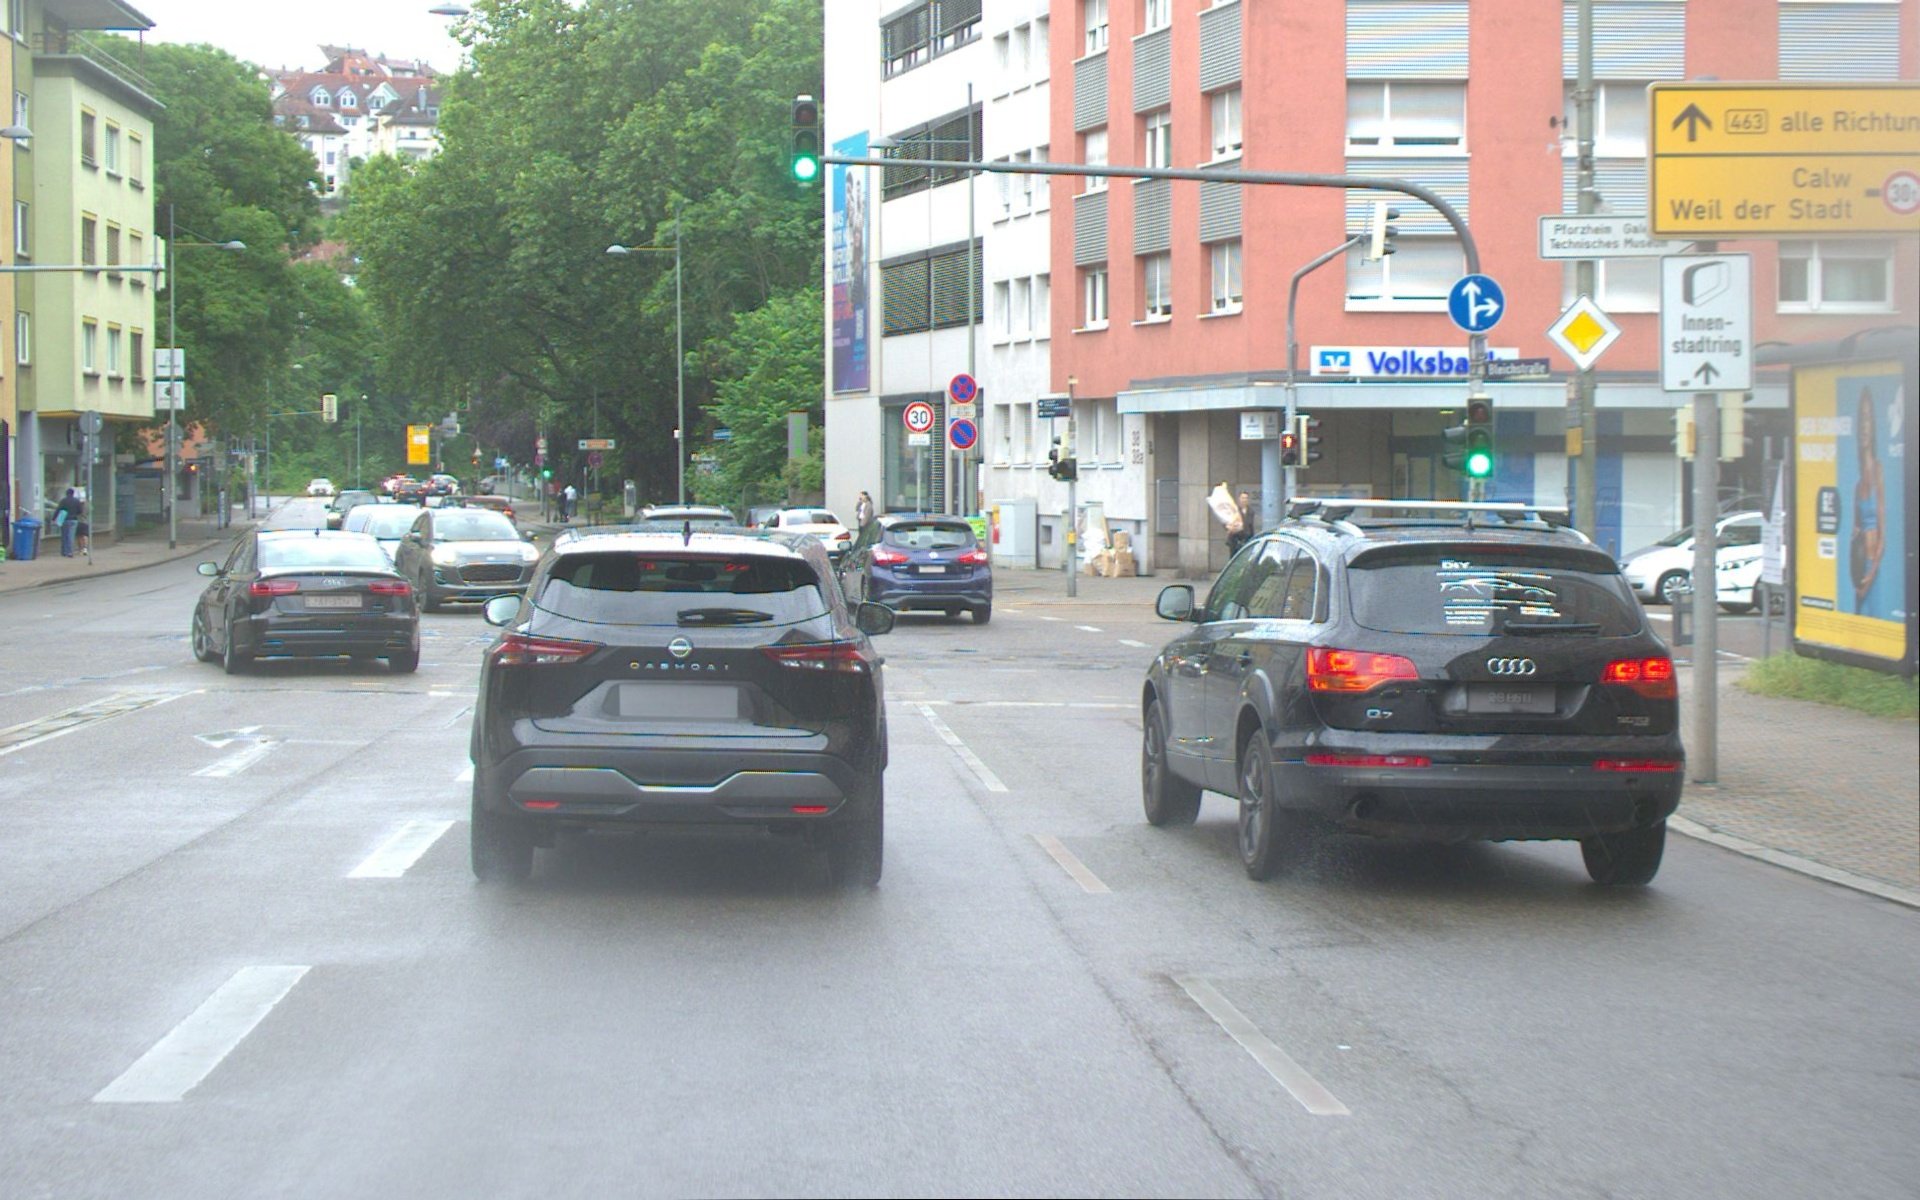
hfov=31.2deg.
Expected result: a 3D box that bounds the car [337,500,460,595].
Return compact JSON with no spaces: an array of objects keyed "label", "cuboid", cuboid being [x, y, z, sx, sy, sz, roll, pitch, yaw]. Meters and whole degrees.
[{"label":"car","cuboid":[-9.429,-0.884,57.561,1.933,1.521,4.136,-1,1,-10]}]

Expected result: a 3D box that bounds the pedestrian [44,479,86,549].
[{"label":"pedestrian","cuboid":[-23.507,-2.259,90.281,0.865,1.782,0.875,2,1,-5]}]

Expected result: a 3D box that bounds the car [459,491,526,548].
[{"label":"car","cuboid":[-14.413,-2.498,105.919,1.820,1.606,3.867,2,2,-10]}]

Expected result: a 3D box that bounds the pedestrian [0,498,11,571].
[{"label":"pedestrian","cuboid":[-21.304,-1.451,75.533,0.686,1.576,0.652,2,2,-3]}]

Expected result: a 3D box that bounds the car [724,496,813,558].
[{"label":"car","cuboid":[-4.843,-1.857,86.627,1.714,1.437,4.083,-2,2,-10]}]

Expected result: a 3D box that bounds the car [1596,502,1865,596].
[{"label":"car","cuboid":[12.534,-0.845,56.053,3.945,1.481,1.703,-1,2,-5]}]

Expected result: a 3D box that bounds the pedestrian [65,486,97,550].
[{"label":"pedestrian","cuboid":[-23.601,-2.204,92.299,0.798,1.682,0.817,0,2,-11]}]

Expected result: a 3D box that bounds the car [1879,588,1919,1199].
[{"label":"car","cuboid":[3.294,0.742,6.507,1.783,1.491,4.057,1,0,-4]}]

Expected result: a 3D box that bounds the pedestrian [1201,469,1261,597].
[{"label":"pedestrian","cuboid":[4.637,-1.157,58.847,0.825,2.151,0.770,2,2,-5]}]

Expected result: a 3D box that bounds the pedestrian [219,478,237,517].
[{"label":"pedestrian","cuboid":[-33.838,-4.732,158.927,0.666,1.785,0.722,1,2,-17]}]

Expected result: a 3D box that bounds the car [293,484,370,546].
[{"label":"car","cuboid":[-19.918,-2.706,109.033,1.993,1.853,4.001,2,2,-5]}]

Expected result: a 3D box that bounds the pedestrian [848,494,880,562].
[{"label":"pedestrian","cuboid":[-2.484,-1.870,89.007,0.612,1.731,0.681,-2,2,-18]}]

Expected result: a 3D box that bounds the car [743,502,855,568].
[{"label":"car","cuboid":[-3.791,-1.544,80.207,1.774,1.396,4.582,-2,3,-13]}]

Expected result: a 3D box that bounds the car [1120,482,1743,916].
[{"label":"car","cuboid":[2.186,0.384,17.495,2.021,1.863,4.900,1,1,-5]}]

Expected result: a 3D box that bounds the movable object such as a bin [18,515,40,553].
[{"label":"movable object such as a bin","cuboid":[-23.468,-1.667,86.673,0.454,0.926,0.502,0,2,-4]}]

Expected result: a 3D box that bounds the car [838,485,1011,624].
[{"label":"car","cuboid":[-0.549,-0.665,48.479,1.945,1.810,4.001,-2,2,-7]}]

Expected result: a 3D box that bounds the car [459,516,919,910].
[{"label":"car","cuboid":[-1.320,0.441,16.381,1.894,1.623,4.001,1,1,-5]}]

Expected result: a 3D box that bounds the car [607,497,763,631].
[{"label":"car","cuboid":[-3.790,-0.524,46.877,1.945,1.679,4.001,-2,2,-6]}]

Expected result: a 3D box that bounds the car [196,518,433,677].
[{"label":"car","cuboid":[-6.681,-0.068,35.237,1.993,1.383,4.502,1,2,-15]}]

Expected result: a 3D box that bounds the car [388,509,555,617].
[{"label":"car","cuboid":[-7.446,-0.590,52.098,1.855,1.547,4.228,-1,2,-17]}]

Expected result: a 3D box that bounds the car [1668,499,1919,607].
[{"label":"car","cuboid":[12.702,-0.696,49.218,4.649,1.481,1.920,-1,2,-6]}]

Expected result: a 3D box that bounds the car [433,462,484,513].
[{"label":"car","cuboid":[-18.893,-4.252,129.552,1.820,1.790,3.867,2,2,-8]}]
